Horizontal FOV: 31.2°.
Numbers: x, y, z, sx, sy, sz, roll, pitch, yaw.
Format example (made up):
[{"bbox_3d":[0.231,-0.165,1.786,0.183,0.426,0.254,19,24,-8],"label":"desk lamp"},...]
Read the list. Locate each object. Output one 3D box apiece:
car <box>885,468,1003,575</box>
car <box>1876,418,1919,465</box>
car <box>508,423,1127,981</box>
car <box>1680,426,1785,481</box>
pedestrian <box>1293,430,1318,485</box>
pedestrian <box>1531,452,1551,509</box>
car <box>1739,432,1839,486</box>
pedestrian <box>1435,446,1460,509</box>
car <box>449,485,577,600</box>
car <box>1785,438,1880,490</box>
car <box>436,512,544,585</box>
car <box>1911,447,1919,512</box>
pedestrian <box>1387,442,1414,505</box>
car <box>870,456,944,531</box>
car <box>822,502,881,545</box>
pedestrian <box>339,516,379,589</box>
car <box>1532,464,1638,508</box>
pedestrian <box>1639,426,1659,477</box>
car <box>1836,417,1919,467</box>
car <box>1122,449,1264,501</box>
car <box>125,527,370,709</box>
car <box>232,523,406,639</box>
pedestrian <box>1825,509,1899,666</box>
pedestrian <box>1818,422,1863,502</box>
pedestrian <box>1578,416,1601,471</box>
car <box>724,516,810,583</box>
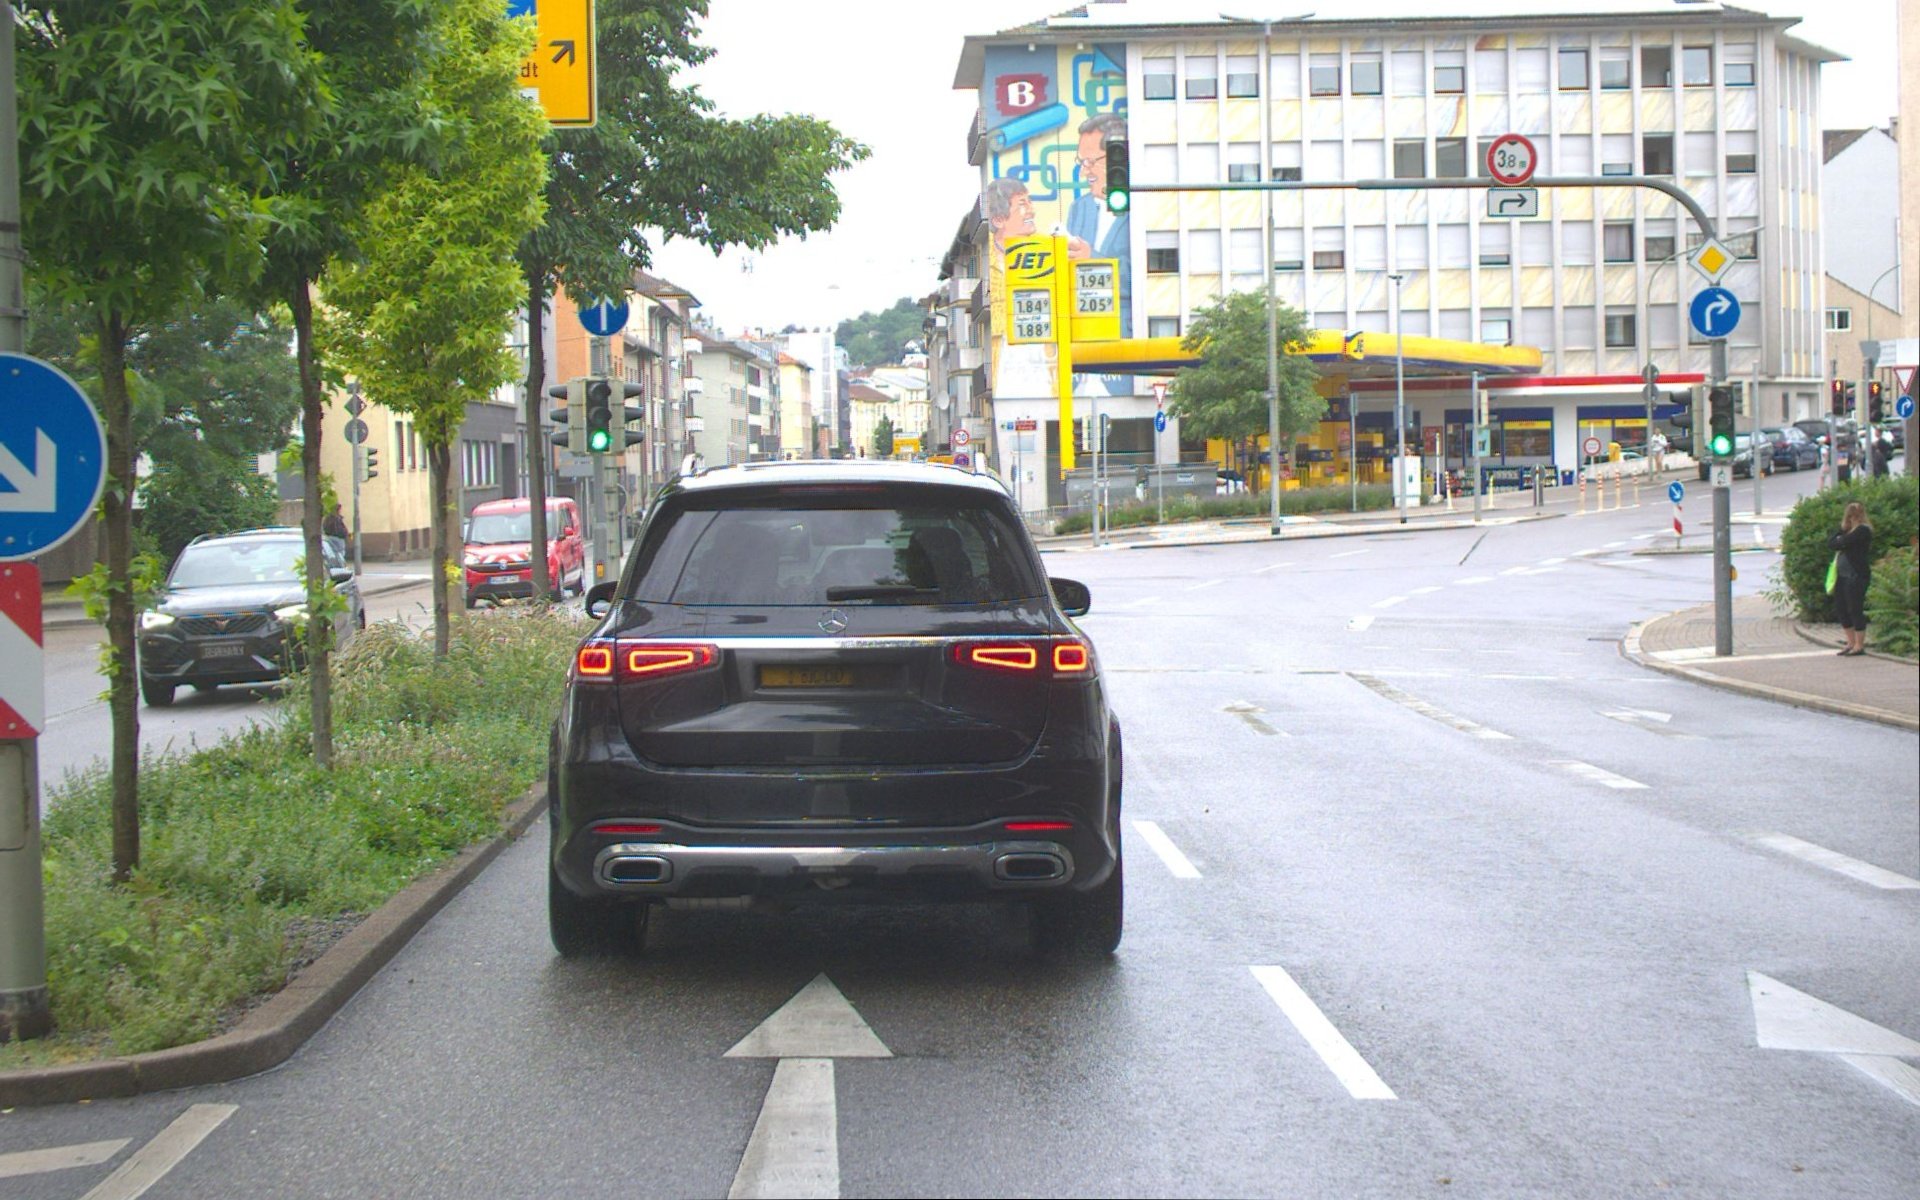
[{"bbox_3d":[-0.311,-1.358,60.604,1.993,1.794,4.000,1,0,-1],"label":"car"},{"bbox_3d":[36.056,-5.967,129.138,1.997,1.700,3.993,-1,2,33],"label":"car"},{"bbox_3d":[-0.496,0.320,13.192,1.993,1.794,4.000,1,0,-1],"label":"car"},{"bbox_3d":[24.960,-4.740,110.978,1.997,1.700,3.993,-1,2,33],"label":"car"},{"bbox_3d":[10.913,-4.483,108.544,0.527,1.721,0.688,0,2,29],"label":"pedestrian"},{"bbox_3d":[14.459,-2.969,85.596,0.396,1.395,0.446,1,0,0],"label":"pedestrian"},{"bbox_3d":[27.810,-4.731,115.262,1.997,1.700,3.993,-1,2,33],"label":"car"},{"bbox_3d":[13.131,-3.299,92.602,0.572,1.691,0.631,1,0,0],"label":"pedestrian"},{"bbox_3d":[-7.827,-1.021,60.580,1.792,1.847,4.793,-3,1,-3],"label":"car"},{"bbox_3d":[30.340,-4.725,119.493,1.997,1.700,3.993,-1,2,33],"label":"car"},{"bbox_3d":[-10.443,-1.179,76.588,1.846,1.424,4.436,-3,2,-2],"label":"car"},{"bbox_3d":[23.400,-2.732,76.232,4.184,1.434,1.858,-2,2,6],"label":"car"},{"bbox_3d":[12.061,-3.467,94.077,0.526,1.721,0.688,0,2,26],"label":"pedestrian"},{"bbox_3d":[-1.520,-2.990,97.387,1.993,2.007,4.000,1,0,-2],"label":"car"},{"bbox_3d":[-4.159,-2.930,132.552,1.993,1.542,4.189,1,0,2],"label":"car"},{"bbox_3d":[-14.311,-1.125,81.864,0.627,1.721,0.650,-3,2,-45],"label":"pedestrian"},{"bbox_3d":[21.869,-3.973,120.238,1.998,1.393,3.991,1,0,38],"label":"car"},{"bbox_3d":[22.221,-4.790,110.883,0.484,1.635,0.438,1,0,28],"label":"pedestrian"},{"bbox_3d":[33.377,-5.728,124.548,1.997,1.700,3.993,-1,2,33],"label":"car"},{"bbox_3d":[6.816,-3.663,100.801,1.732,1.371,3.997,-3,2,-44],"label":"car"},{"bbox_3d":[-7.098,0.123,34.618,1.732,1.620,4.232,-3,1,-3],"label":"car"},{"bbox_3d":[-9.692,-0.326,52.301,1.888,1.581,4.537,-3,1,-2],"label":"car"},{"bbox_3d":[9.892,-0.142,37.708,0.646,1.704,0.470,0,0,35],"label":"pedestrian"},{"bbox_3d":[23.819,-3.736,93.008,0.854,2.121,0.948,-2,2,-7],"label":"pedestrian"},{"bbox_3d":[19.923,-4.951,108.842,0.526,1.721,0.688,0,2,26],"label":"pedestrian"},{"bbox_3d":[-4.824,-1.246,86.330,1.993,1.609,4.190,1,0,-1],"label":"car"}]
